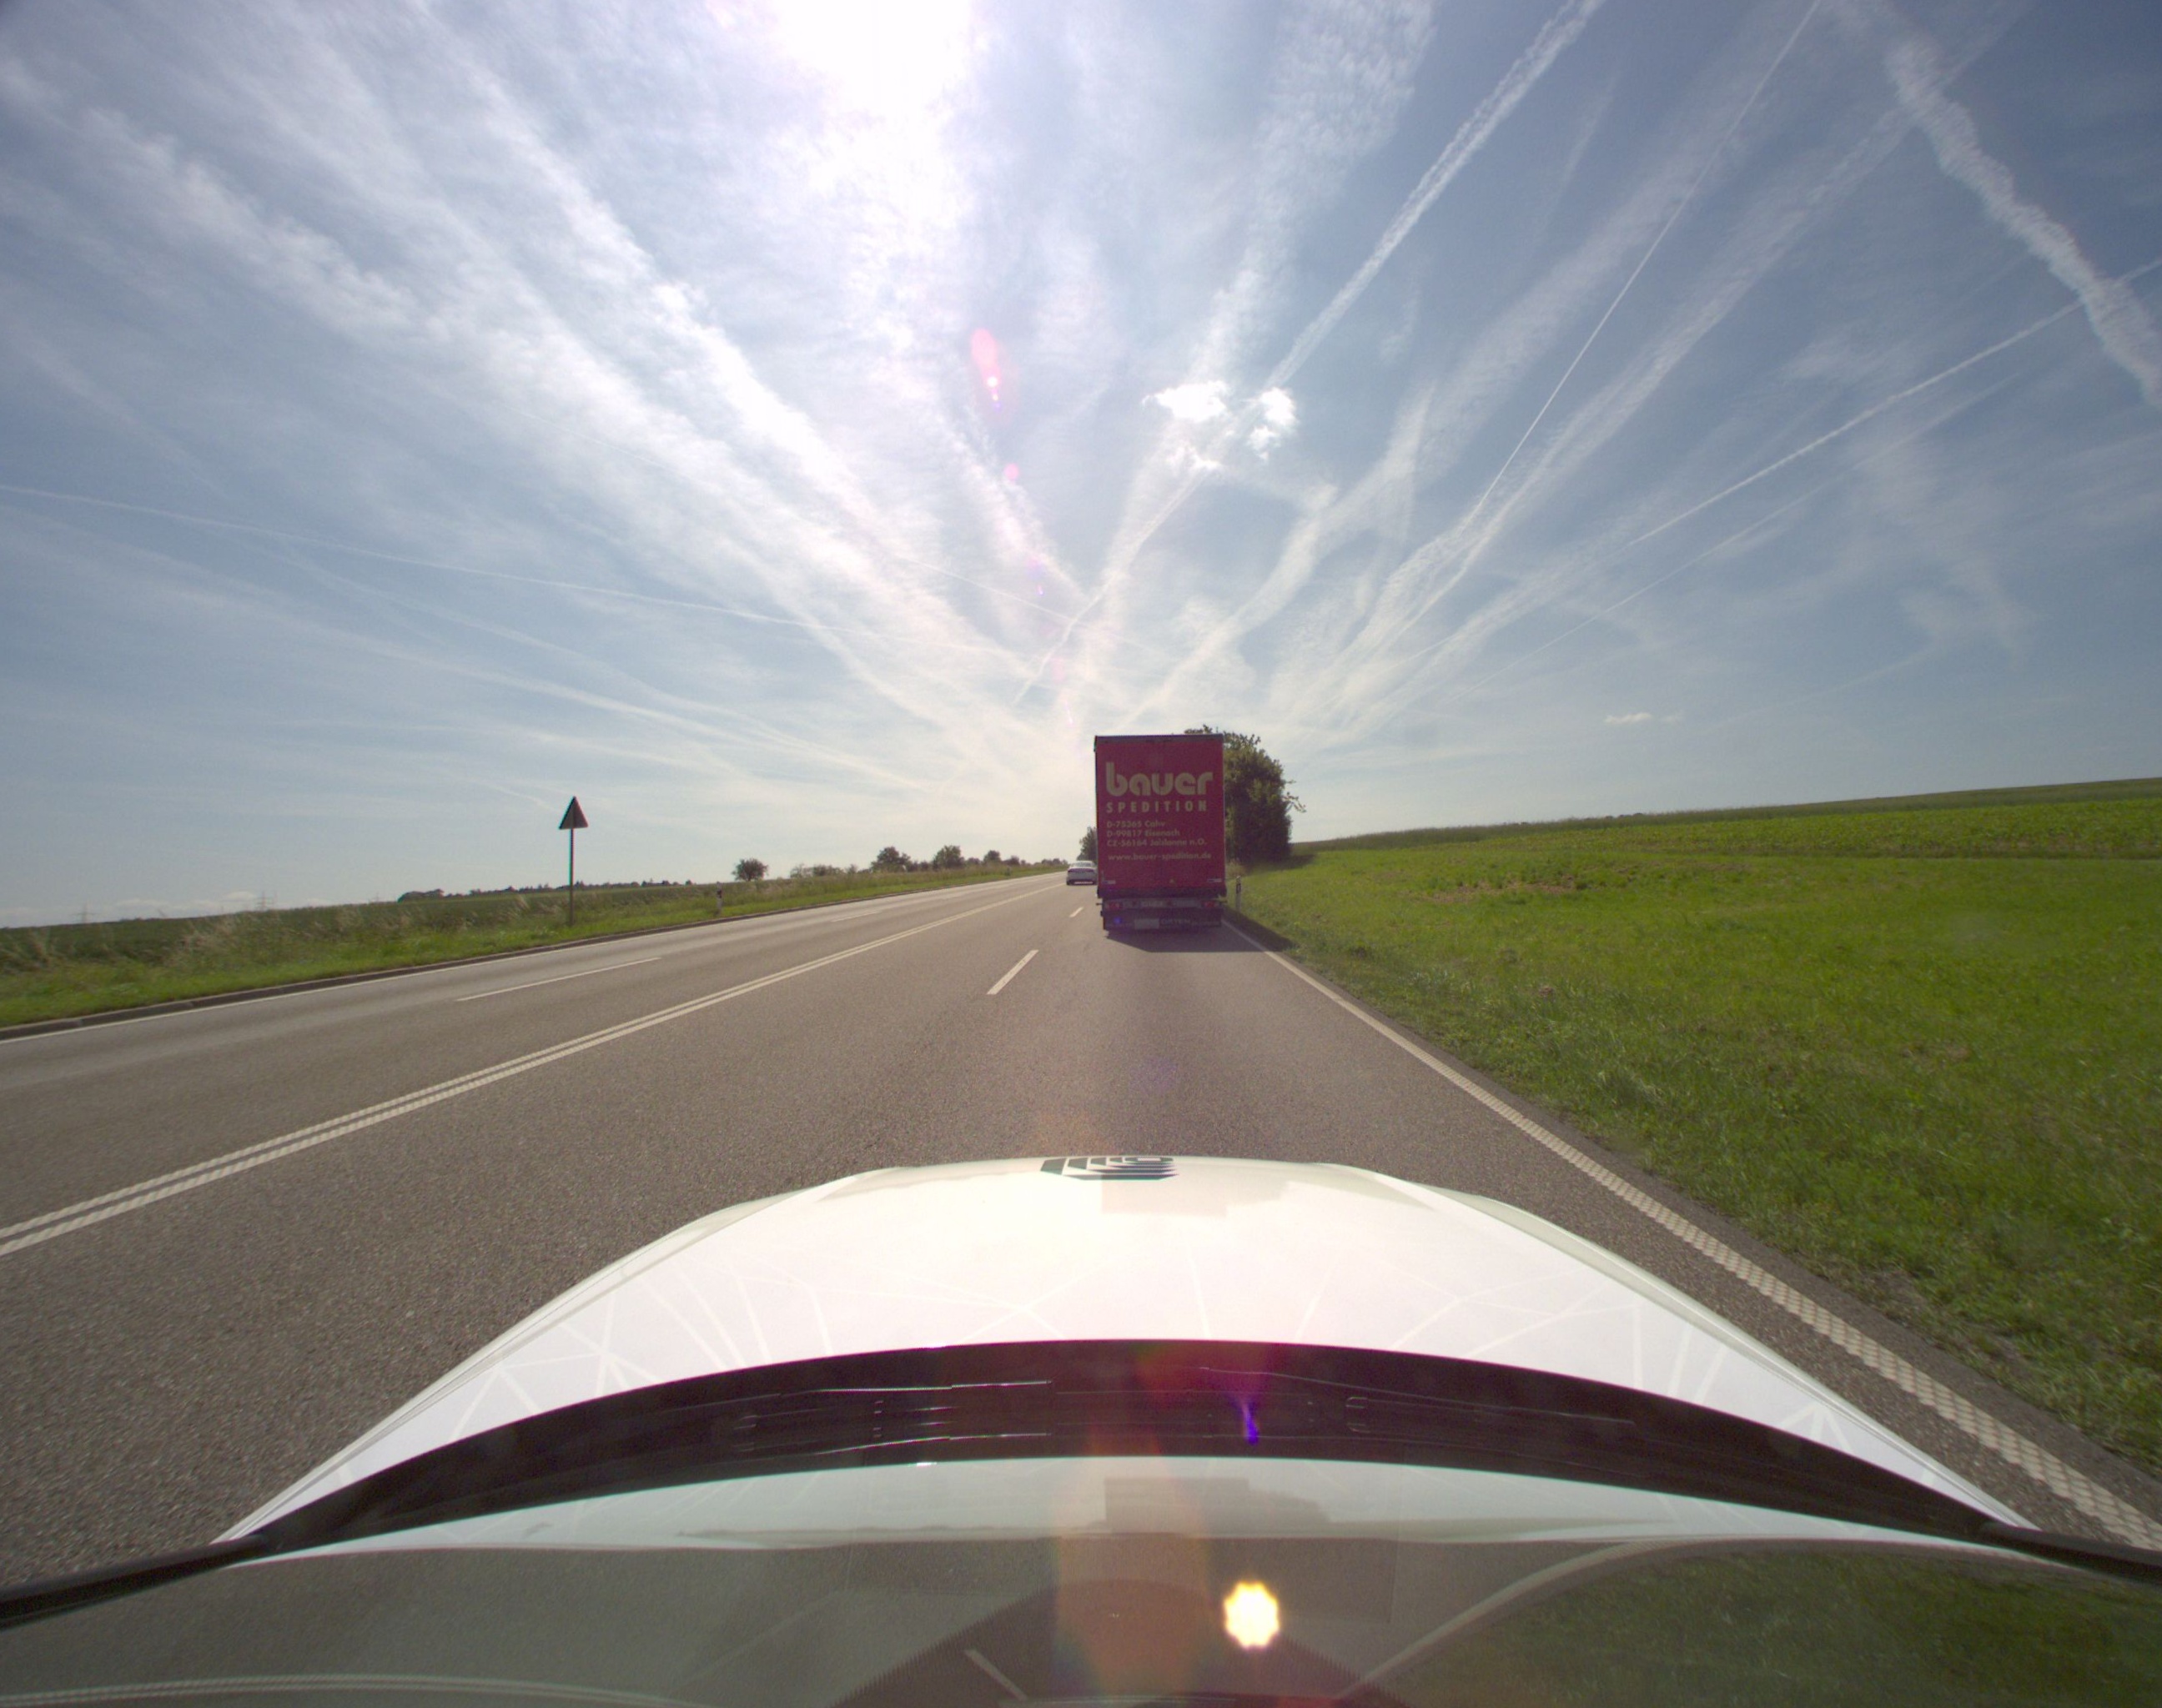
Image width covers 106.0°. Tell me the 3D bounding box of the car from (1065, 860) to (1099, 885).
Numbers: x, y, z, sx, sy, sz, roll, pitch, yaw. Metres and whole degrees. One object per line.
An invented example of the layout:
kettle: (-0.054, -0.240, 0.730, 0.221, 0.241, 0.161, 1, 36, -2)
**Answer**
car: (0.114, 1.066, 48.775, 1.695, 1.376, 4.608, 0, 0, 4)

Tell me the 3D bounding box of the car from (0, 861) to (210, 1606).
car: (-3.113, 0.789, 0.134, 1.625, 1.531, 3.917, -1, 0, 2)

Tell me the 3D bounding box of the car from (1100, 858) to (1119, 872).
car: (2.963, 1.111, 83.442, 1.813, 1.472, 4.793, 0, 0, 4)

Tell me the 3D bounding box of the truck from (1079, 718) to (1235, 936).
truck: (1.725, -0.468, 24.015, 2.996, 4.180, 16.720, 0, 0, 2)

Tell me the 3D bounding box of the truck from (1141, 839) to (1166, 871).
truck: (9.875, 0.160, 110.179, 3.032, 3.910, 18.426, -1, 0, 6)

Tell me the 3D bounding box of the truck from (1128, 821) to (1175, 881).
truck: (5.441, -0.160, 62.339, 3.032, 3.910, 15.637, -1, 0, 5)
